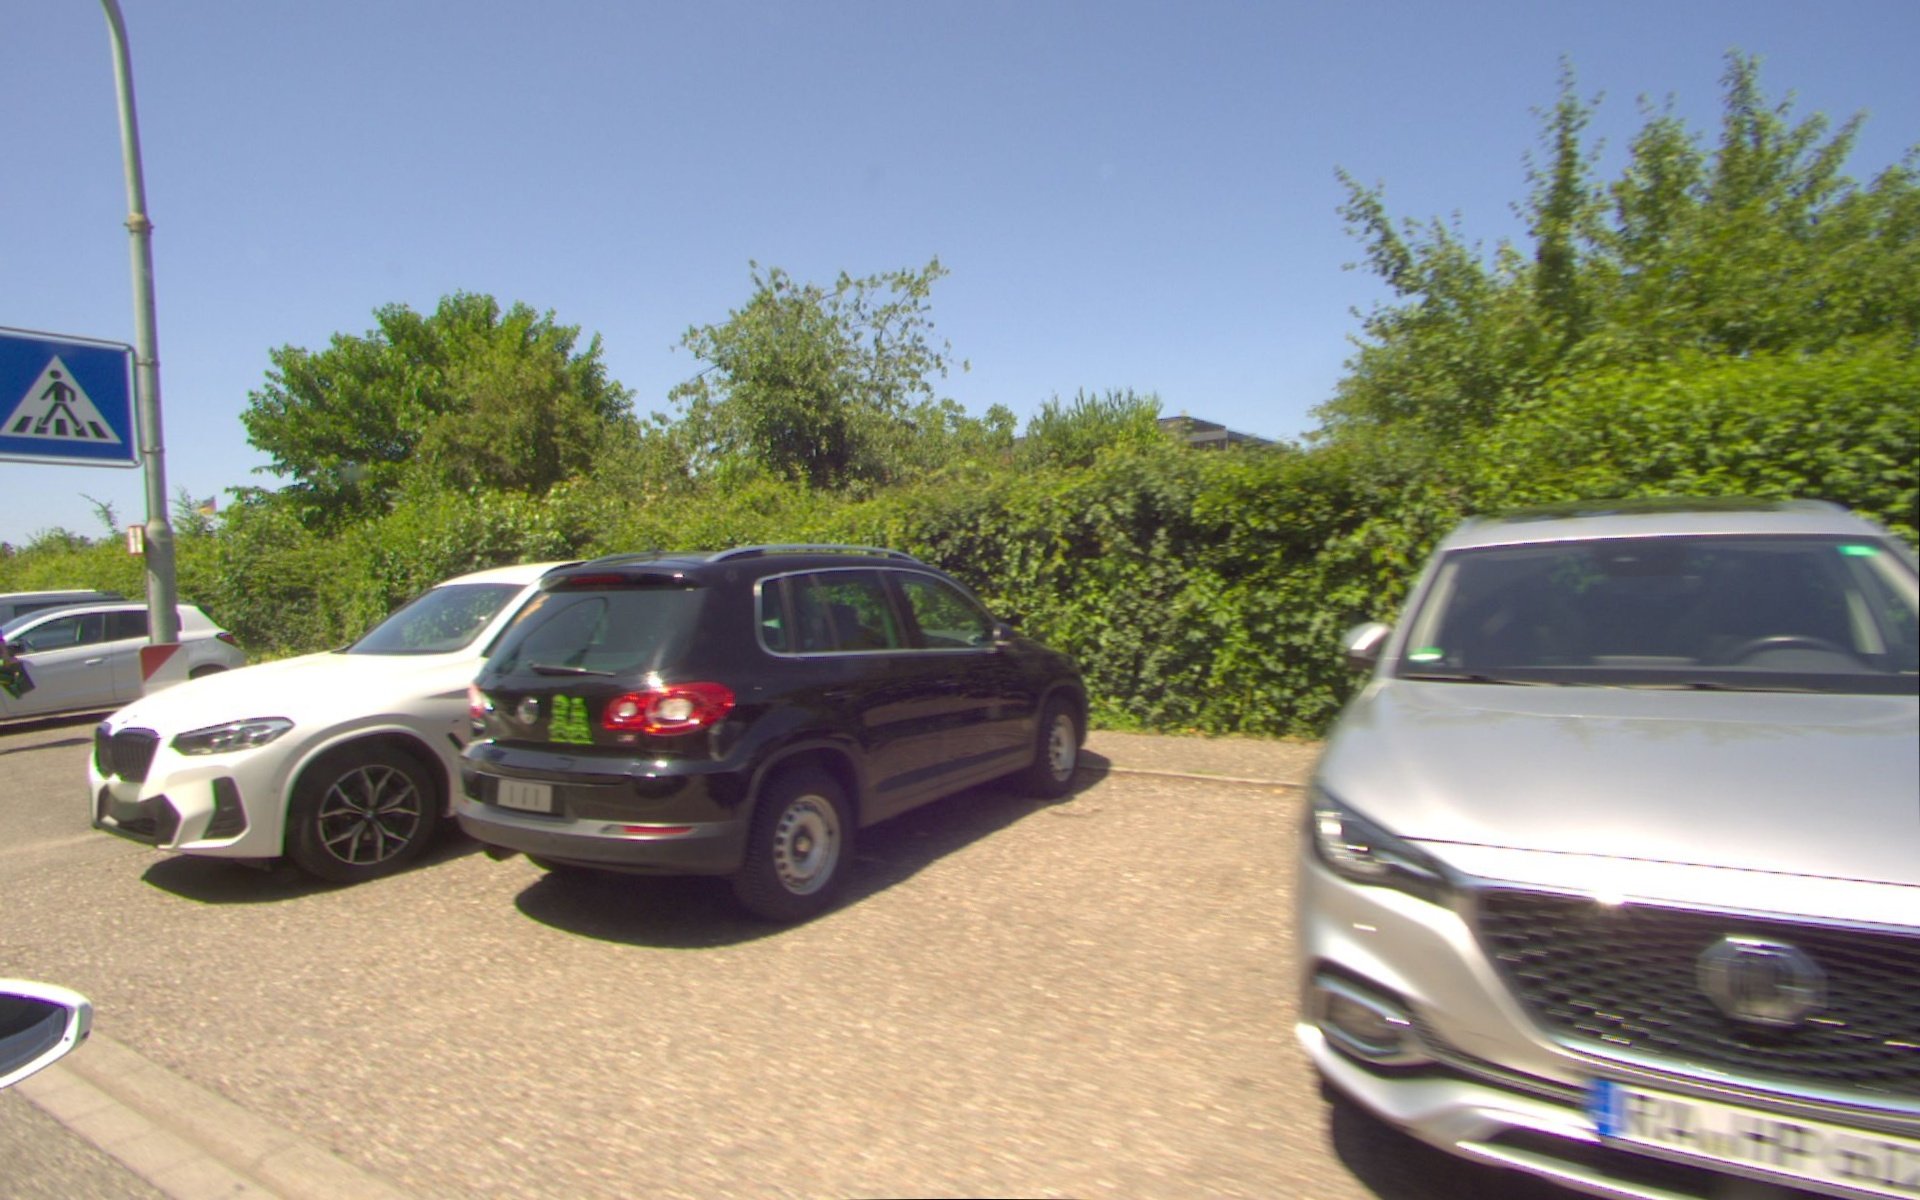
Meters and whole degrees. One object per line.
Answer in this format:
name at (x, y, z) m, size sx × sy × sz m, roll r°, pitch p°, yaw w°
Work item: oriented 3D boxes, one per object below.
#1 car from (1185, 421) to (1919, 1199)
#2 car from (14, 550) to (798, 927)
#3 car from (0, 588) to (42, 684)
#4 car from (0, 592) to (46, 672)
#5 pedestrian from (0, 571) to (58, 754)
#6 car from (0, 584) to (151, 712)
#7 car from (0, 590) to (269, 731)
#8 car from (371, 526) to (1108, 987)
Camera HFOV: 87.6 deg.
car at (2.326, 0.456, 3.404) m, size 1.871 × 1.676 × 4.227 m, roll -2°, pitch 2°, yaw 29°
car at (-3.244, 0.554, 6.938) m, size 1.848 × 1.721 × 4.396 m, roll -1°, pitch 2°, yaw 29°
car at (-18.808, 0.743, 17.257) m, size 1.783 × 1.692 × 3.953 m, roll 2°, pitch 4°, yaw 24°
car at (-21.153, 0.783, 19.892) m, size 1.784 × 1.608 × 3.953 m, roll -1°, pitch 3°, yaw 24°
pedestrian at (-10.079, 0.646, 10.284) m, size 0.923 × 1.824 × 0.903 m, roll 0°, pitch 5°, yaw 37°
car at (-14.201, 0.746, 14.045) m, size 1.784 × 1.692 × 3.951 m, roll -1°, pitch 3°, yaw 26°
car at (-11.566, 0.752, 12.908) m, size 1.789 × 1.500 × 3.940 m, roll -1°, pitch 4°, yaw 36°
car at (-0.813, 0.497, 5.874) m, size 1.859 × 1.680 × 4.115 m, roll -1°, pitch 2°, yaw 31°
